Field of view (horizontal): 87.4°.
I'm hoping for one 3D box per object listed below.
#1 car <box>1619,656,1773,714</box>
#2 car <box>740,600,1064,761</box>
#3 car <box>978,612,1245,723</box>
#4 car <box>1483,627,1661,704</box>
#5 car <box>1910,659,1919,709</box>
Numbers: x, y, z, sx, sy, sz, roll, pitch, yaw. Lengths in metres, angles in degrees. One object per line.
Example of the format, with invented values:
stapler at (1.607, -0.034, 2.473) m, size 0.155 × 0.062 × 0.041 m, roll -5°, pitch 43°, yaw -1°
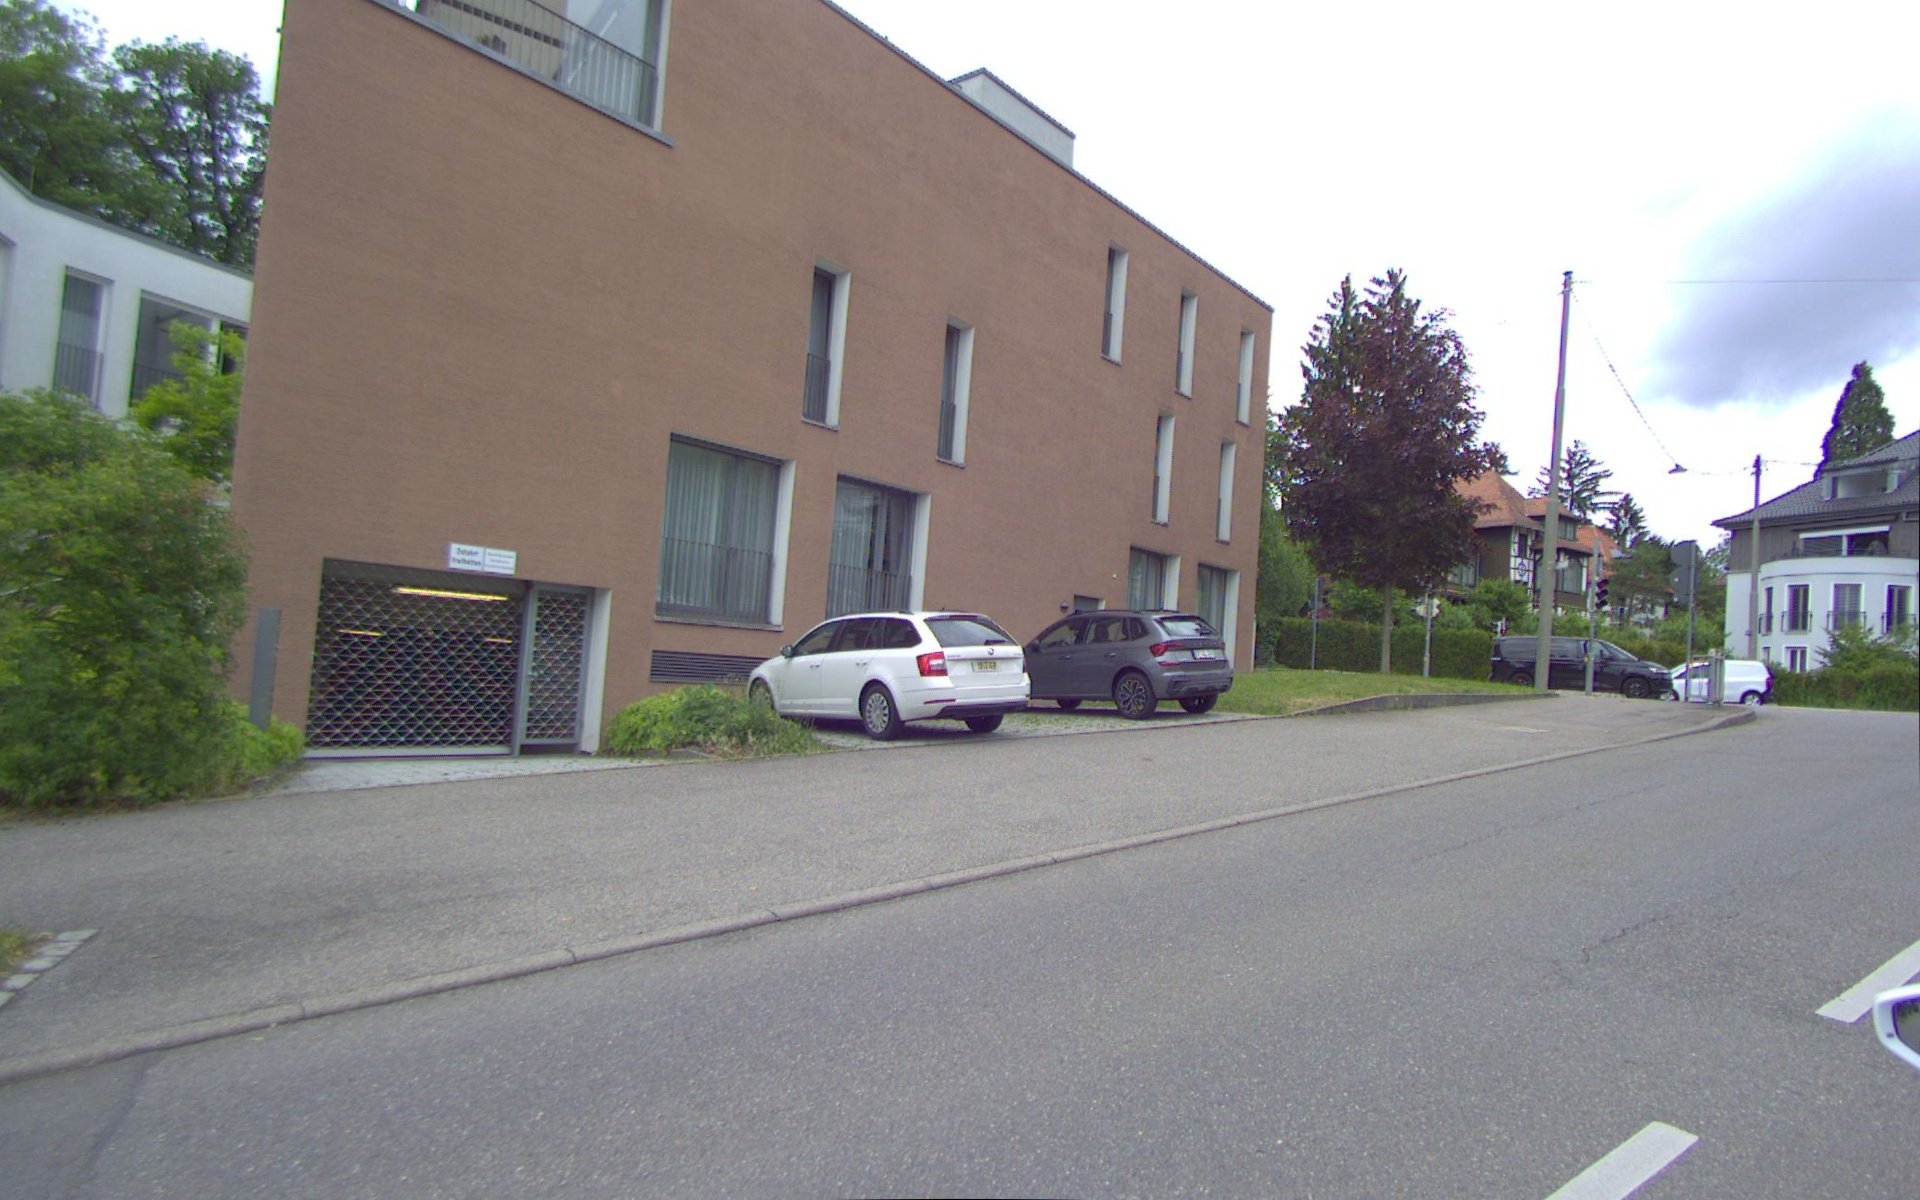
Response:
car at (27.799, 3.171, 38.100) m, size 4.266 × 1.882 × 2.001 m, roll 1°, pitch 0°, yaw 16°
car at (-0.886, 0.922, 12.574) m, size 1.996 × 1.644 × 4.228 m, roll 3°, pitch -3°, yaw -38°
car at (2.216, 1.011, 15.334) m, size 1.721 × 1.483 × 3.722 m, roll 1°, pitch -4°, yaw -45°
car at (19.536, 2.010, 32.164) m, size 4.702 × 2.040 × 1.993 m, roll 2°, pitch 1°, yaw 35°
car at (29.060, 2.426, 27.529) m, size 3.921 × 1.401 × 1.937 m, roll 1°, pitch -1°, yaw 21°
